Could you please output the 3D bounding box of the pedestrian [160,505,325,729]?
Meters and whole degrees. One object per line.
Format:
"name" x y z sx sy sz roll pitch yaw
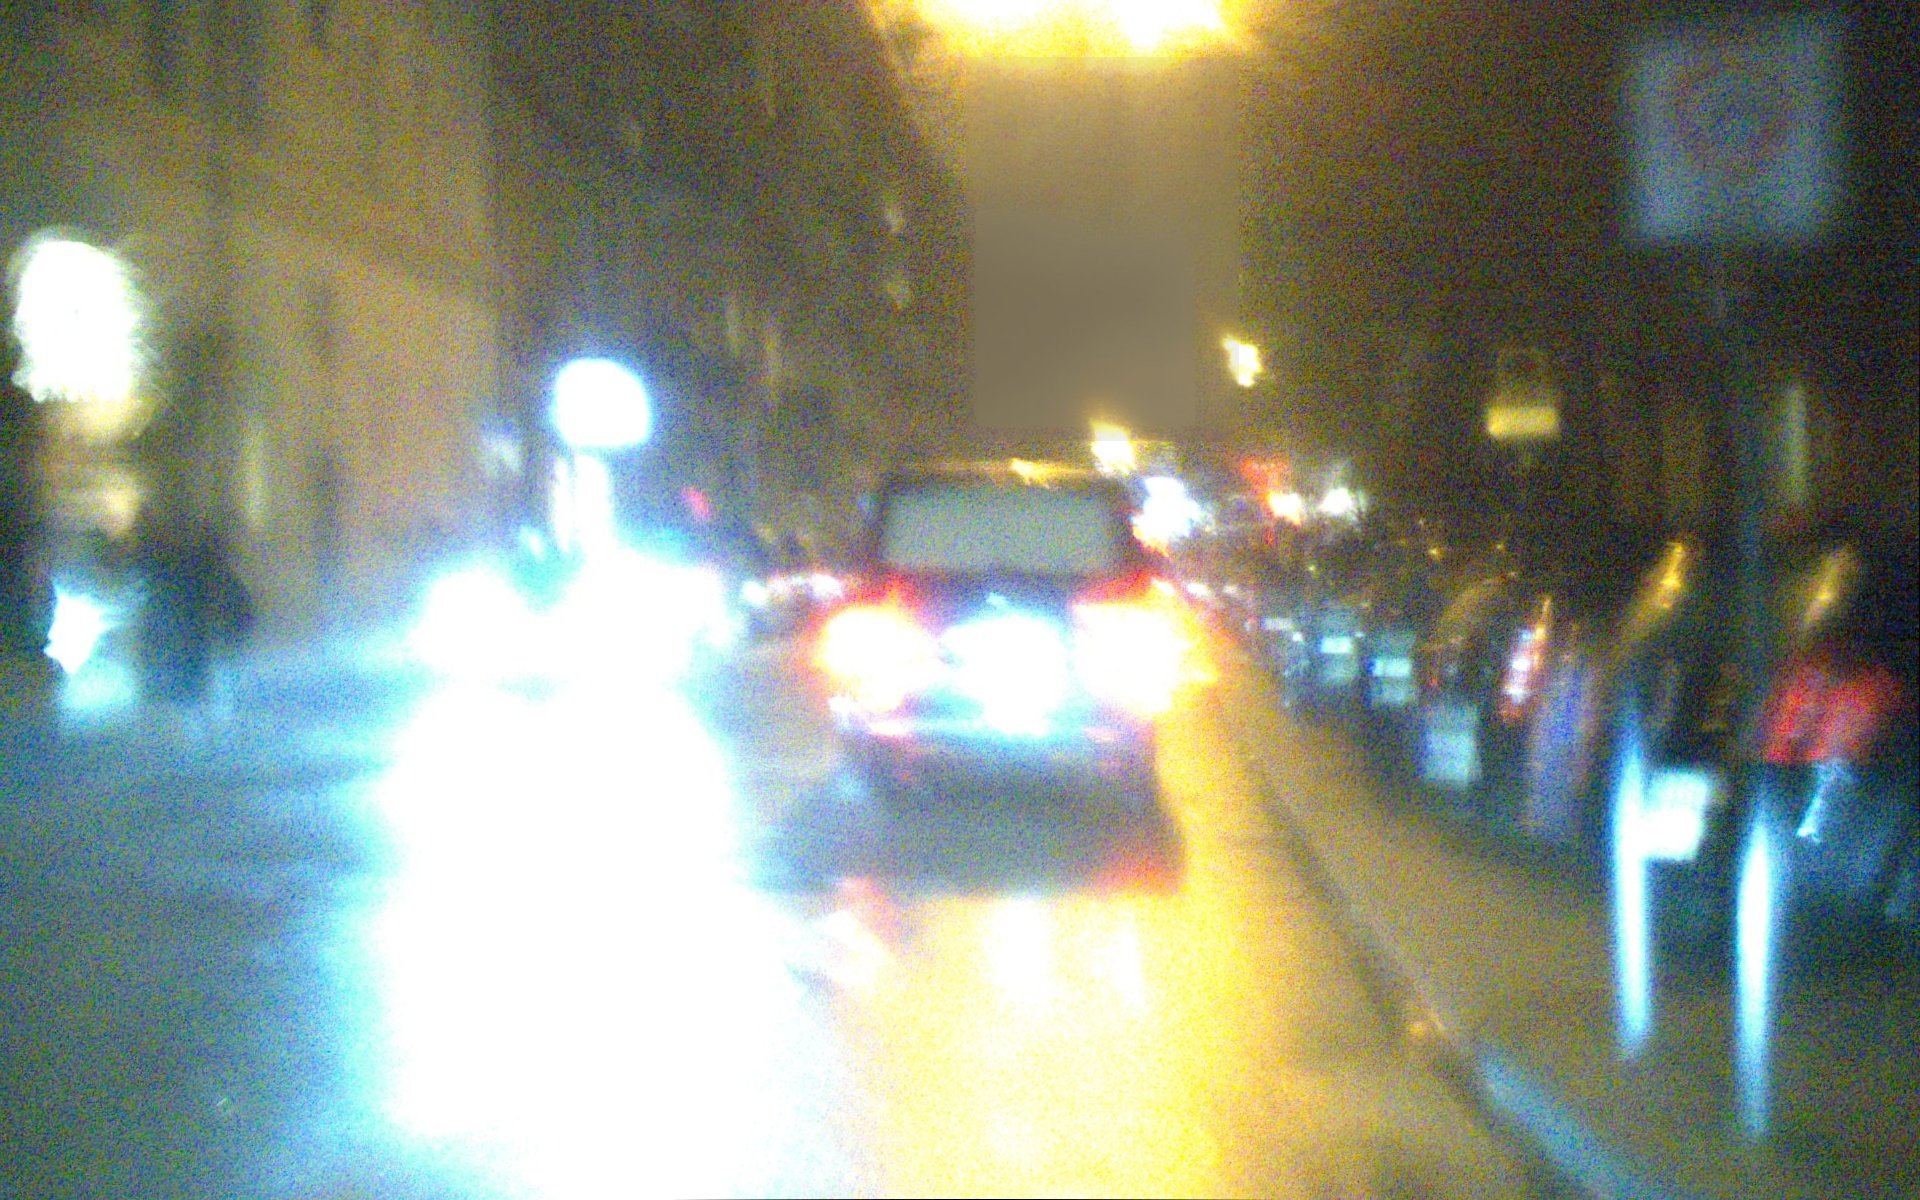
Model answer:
"pedestrian" -5.788 0.127 27.773 1.132 1.776 0.788 0 1 3

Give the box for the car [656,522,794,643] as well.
"car" -3.402 -0.280 50.314 1.603 1.700 3.721 0 1 2

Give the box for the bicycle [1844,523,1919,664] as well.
"bicycle" 9.697 -0.105 33.487 1.972 1.330 0.782 -3 1 9

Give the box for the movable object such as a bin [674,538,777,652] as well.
"movable object such as a bin" -3.072 -0.073 45.112 1.165 1.454 1.107 1 1 5

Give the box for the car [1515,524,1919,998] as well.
"car" 4.105 0.459 12.645 3.699 1.517 1.657 -3 1 -22

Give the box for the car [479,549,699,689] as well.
"car" -3.777 0.154 35.630 1.654 1.354 4.222 0 1 3

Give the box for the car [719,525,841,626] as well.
"car" -2.915 -0.431 56.238 1.603 1.547 4.025 1 1 2

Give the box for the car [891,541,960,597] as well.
"car" -0.940 -0.861 94.219 1.587 1.477 3.792 1 1 4

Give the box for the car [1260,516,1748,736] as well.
"car" 4.554 0.167 28.677 3.791 1.722 1.742 -1 1 -31

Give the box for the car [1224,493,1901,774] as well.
"car" 4.037 0.194 23.095 4.092 1.758 1.859 0 1 -22

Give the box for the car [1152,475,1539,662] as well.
"car" 4.958 -0.422 43.978 4.710 2.240 1.946 -2 1 -33

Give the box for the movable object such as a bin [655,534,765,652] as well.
"movable object such as a bin" -3.183 -0.095 43.869 1.208 1.454 1.107 1 1 5

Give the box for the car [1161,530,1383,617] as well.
"car" 5.693 -0.486 62.791 3.671 1.455 1.605 -2 1 -20

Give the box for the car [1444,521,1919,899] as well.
"car" 4.282 0.406 15.750 3.699 1.517 1.657 -3 1 -22

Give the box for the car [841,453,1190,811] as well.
"car" 0.412 0.169 21.660 1.994 2.043 4.000 0 0 3

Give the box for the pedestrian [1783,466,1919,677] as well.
"pedestrian" 8.137 -0.252 31.386 0.838 1.829 0.947 -5 0 -1

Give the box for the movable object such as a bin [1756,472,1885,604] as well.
"movable object such as a bin" 10.220 -0.737 40.883 1.209 1.446 0.998 -5 1 3

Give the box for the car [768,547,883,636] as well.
"car" -2.365 -0.180 61.263 1.686 1.450 4.315 1 1 2

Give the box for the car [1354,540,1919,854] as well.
"car" 3.799 0.473 18.192 3.038 1.546 1.505 0 1 -19

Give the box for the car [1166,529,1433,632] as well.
"car" 5.505 -0.332 55.661 3.987 1.547 1.804 -2 1 -32

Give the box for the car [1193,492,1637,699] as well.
"car" 4.591 -0.067 34.479 4.234 1.852 1.717 -3 1 -32

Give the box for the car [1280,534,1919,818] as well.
"car" 3.934 0.420 20.884 3.553 1.605 1.713 0 1 -19
